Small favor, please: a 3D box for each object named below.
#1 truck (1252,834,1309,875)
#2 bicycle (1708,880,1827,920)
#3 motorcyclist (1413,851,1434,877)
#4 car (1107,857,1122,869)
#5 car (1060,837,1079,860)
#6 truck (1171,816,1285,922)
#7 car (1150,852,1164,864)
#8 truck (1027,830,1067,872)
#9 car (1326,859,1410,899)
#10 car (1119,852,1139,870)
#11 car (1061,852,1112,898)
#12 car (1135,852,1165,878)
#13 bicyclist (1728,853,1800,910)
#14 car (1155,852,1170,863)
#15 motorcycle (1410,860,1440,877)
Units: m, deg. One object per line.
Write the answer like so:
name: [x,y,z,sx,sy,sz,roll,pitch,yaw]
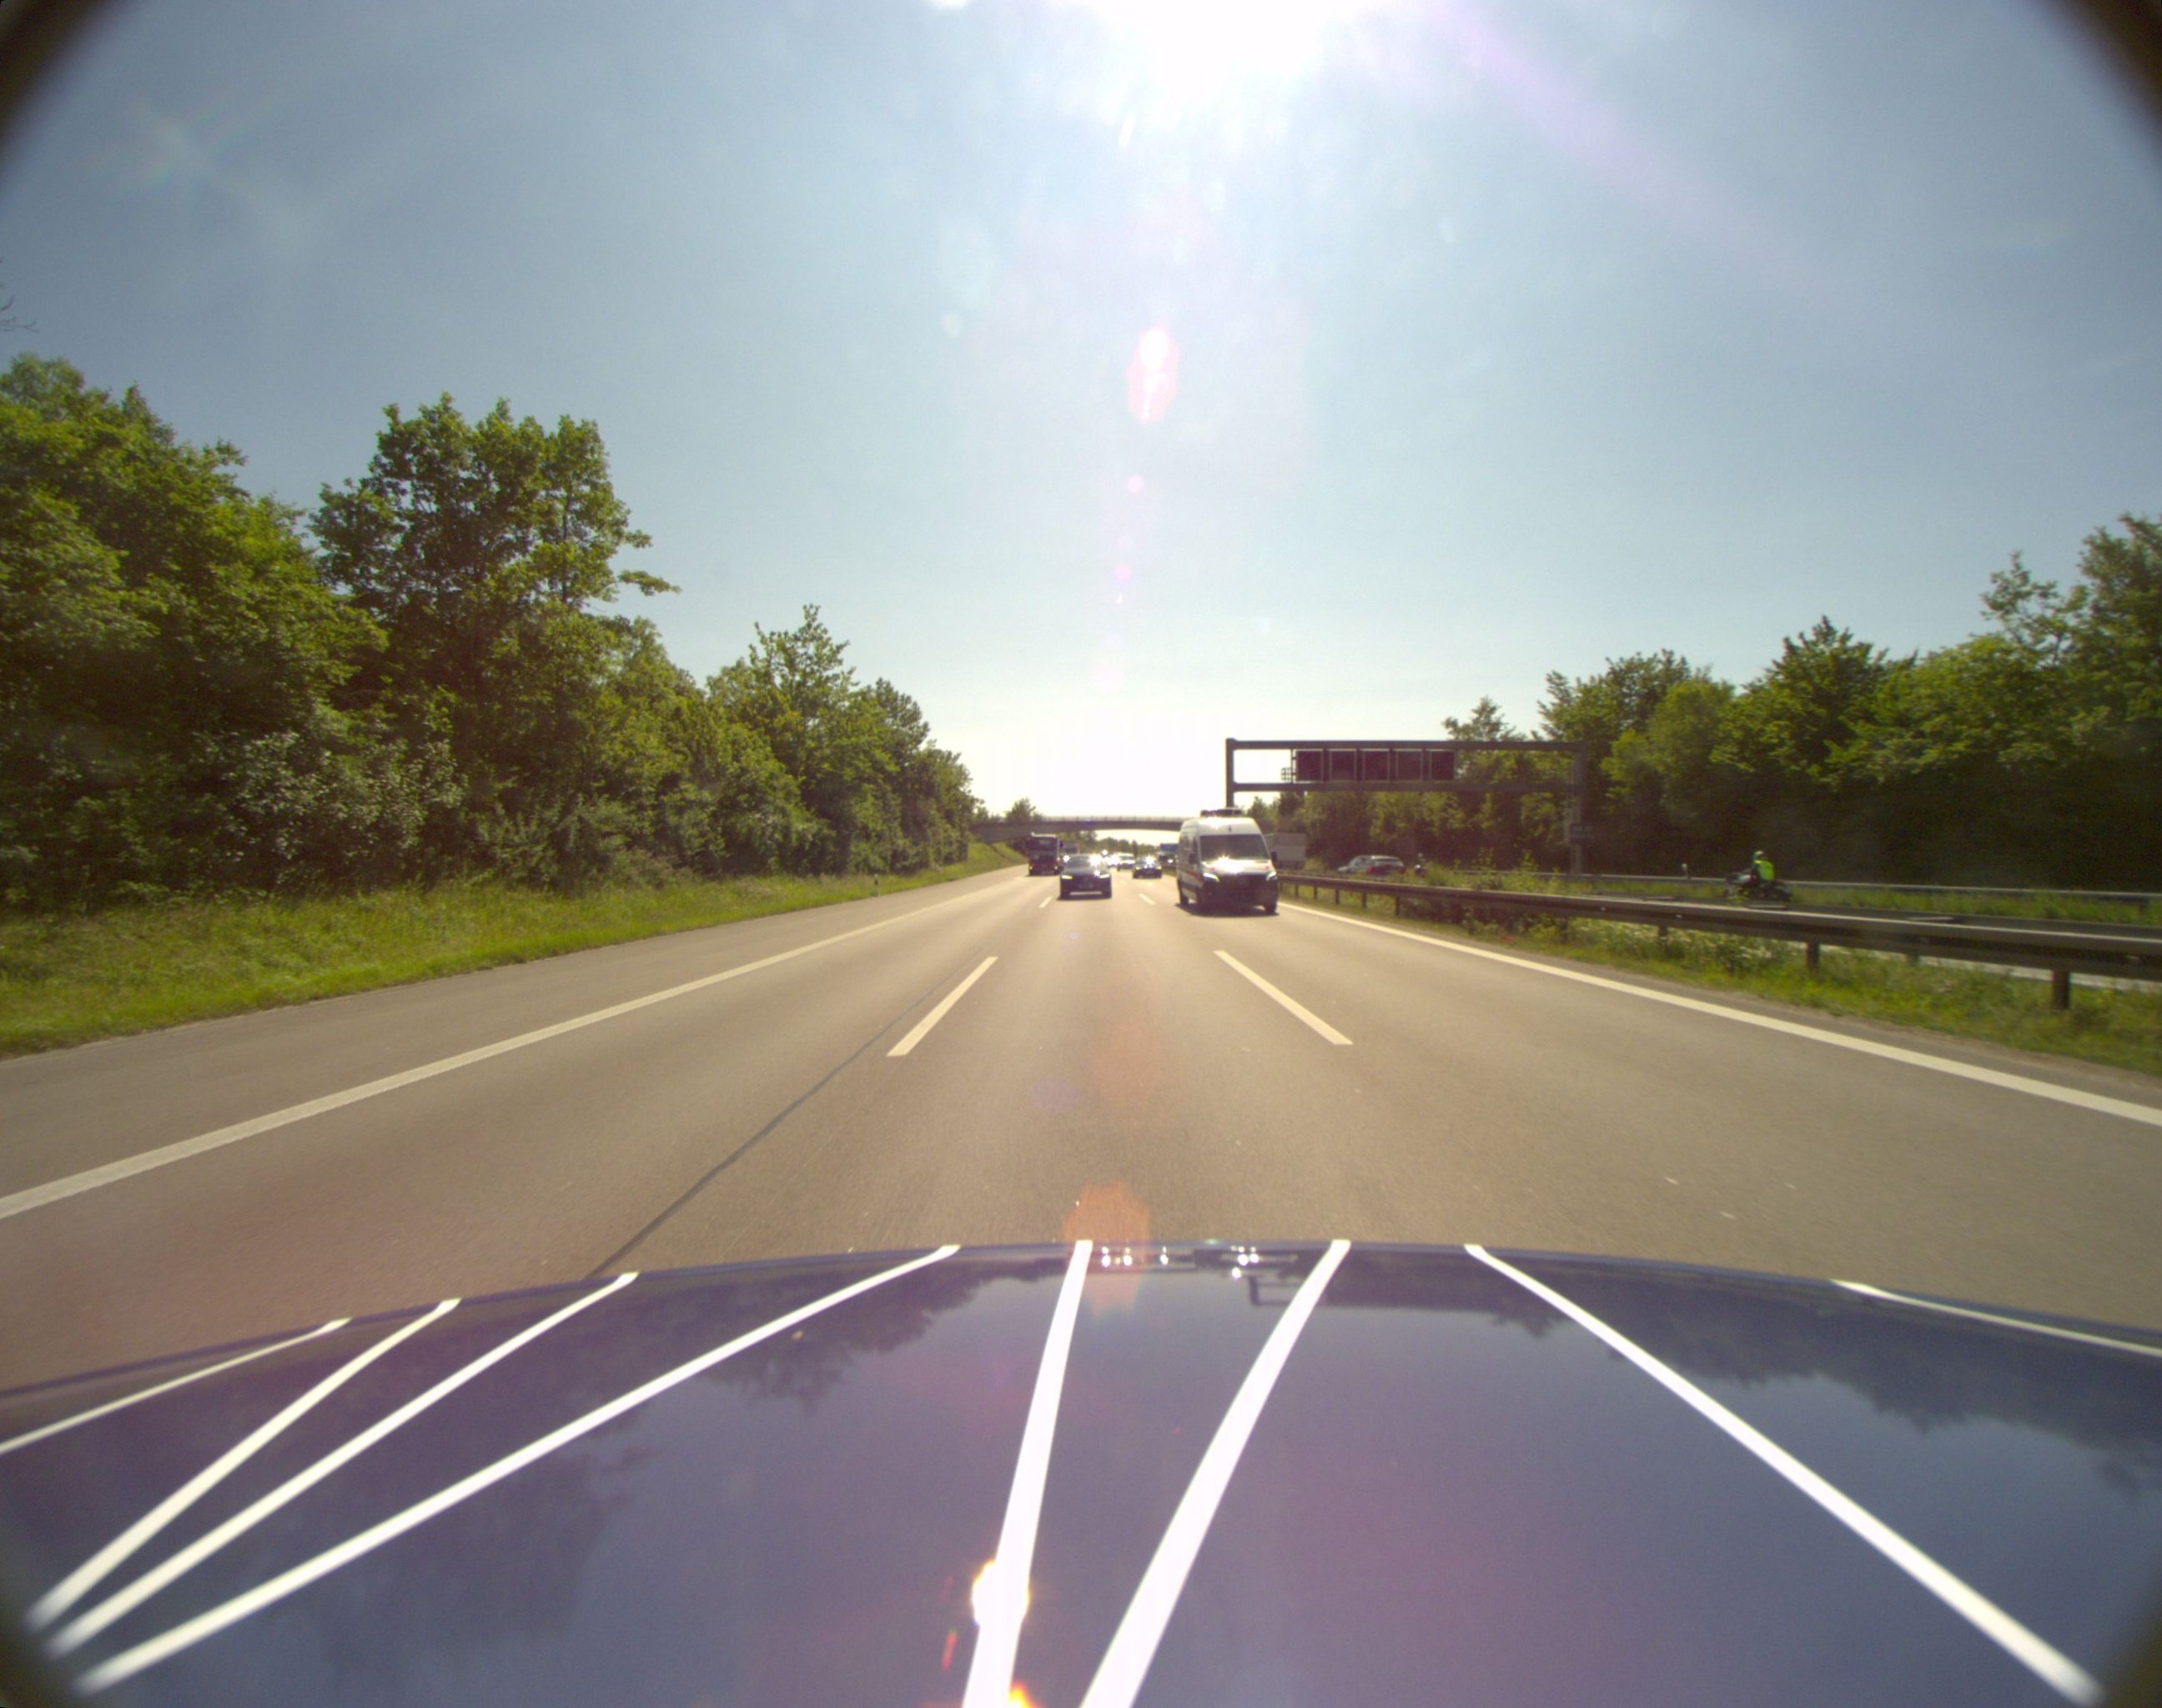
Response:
truck: [16.765,-0.035,64.482,2.786,3.286,8.056,0,1,0]
bicycle: [19.349,1.261,21.521,0.904,0.911,2.733,0,1,0]
motorcyclist: [20.056,0.596,44.456,0.807,1.491,0.931,0,1,1]
car: [4.471,1.187,101.381,1.998,1.540,4.000,0,1,3]
car: [-1.950,-1.026,136.332,3.202,3.997,8.126,0,0,1]
truck: [3.987,0.381,21.937,1.998,2.527,6.692,-2,0,1]
car: [18.998,1.085,191.031,2.553,2.952,6.996,0,0,-3]
truck: [-2.808,-0.256,64.961,2.965,3.388,8.047,0,0,0]
car: [12.434,1.019,33.275,1.998,1.589,4.592,0,0,0]
car: [4.793,0.716,76.446,1.870,1.713,3.980,0,1,1]
car: [0.239,0.749,29.413,1.812,1.648,4.000,0,0,1]
car: [4.652,0.733,51.814,1.904,1.616,4.241,-1,0,3]
bicyclist: [19.357,0.758,21.570,0.882,1.567,1.287,0,1,0]
car: [13.552,0.578,126.550,1.911,1.697,5.196,2,0,1]
motorcycle: [20.075,0.838,44.411,0.807,0.940,2.222,0,0,1]
